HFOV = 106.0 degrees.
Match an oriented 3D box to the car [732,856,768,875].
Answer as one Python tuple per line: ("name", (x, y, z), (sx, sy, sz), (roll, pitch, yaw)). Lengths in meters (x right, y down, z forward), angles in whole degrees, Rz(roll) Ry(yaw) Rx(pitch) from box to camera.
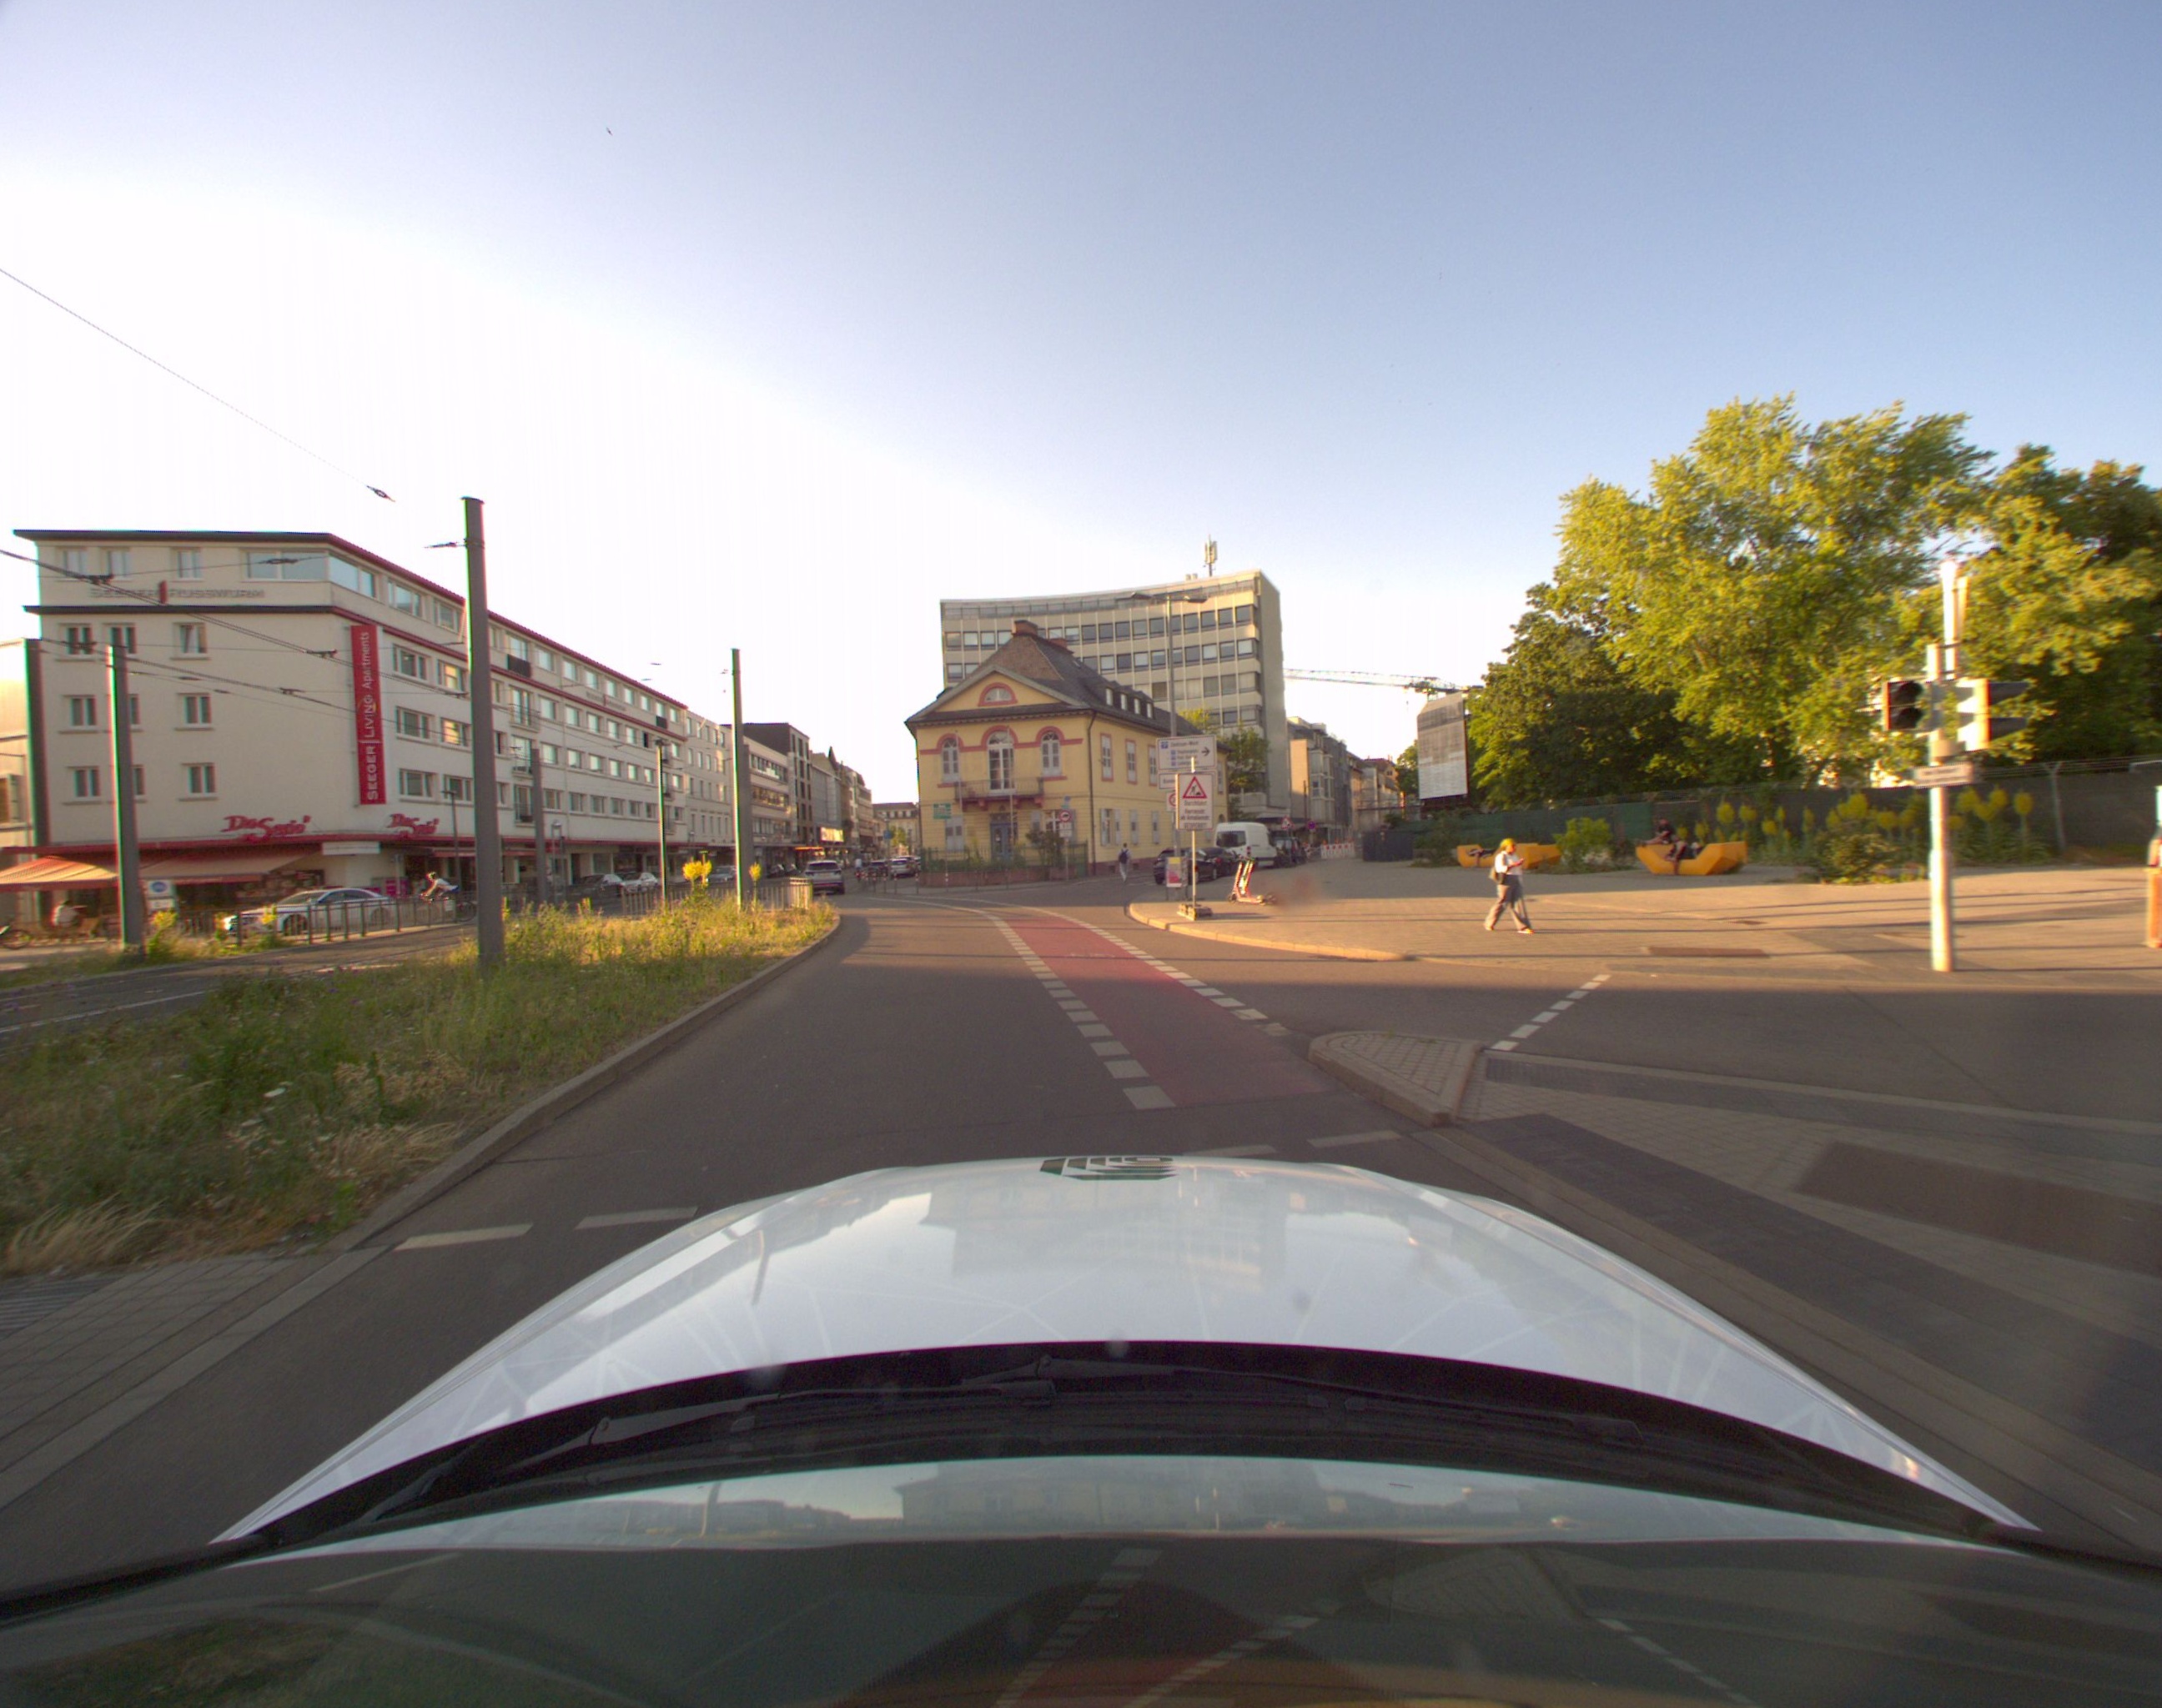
("car", (-32.327, 1.113, 79.633), (1.990, 1.665, 3.994), (-3, 0, -4))

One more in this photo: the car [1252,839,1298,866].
("car", (11.624, -0.105, 48.680), (1.676, 1.459, 4.124), (-2, 1, 27))

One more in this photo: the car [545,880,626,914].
("car", (-28.743, 2.448, 47.452), (1.990, 1.665, 4.833), (-2, 0, -4))

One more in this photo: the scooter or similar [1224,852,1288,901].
("scooter or similar", (4.698, 0.619, 21.934), (1.507, 1.260, 0.616), (-3, 0, 34))

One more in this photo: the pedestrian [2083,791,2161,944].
("pedestrian", (12.587, 0.134, 9.492), (0.931, 1.735, 0.827), (-2, 0, 37))

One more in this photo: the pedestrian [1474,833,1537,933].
("pedestrian", (7.130, 0.481, 13.701), (0.686, 1.613, 0.596), (-3, 0, -3))

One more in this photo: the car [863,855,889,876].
("car", (-18.817, 1.000, 74.845), (1.807, 1.808, 3.988), (-3, 0, -8))

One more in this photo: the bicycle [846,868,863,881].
("bicycle", (-16.016, 1.438, 57.691), (0.829, 0.870, 2.541), (-3, 0, -9))

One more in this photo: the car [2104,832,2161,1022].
("car", (9.819, 0.459, 4.834), (4.254, 1.405, 1.926), (-3, -1, 20))

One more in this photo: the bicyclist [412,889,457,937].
("bicyclist", (-21.064, 1.909, 26.542), (0.824, 1.441, 0.936), (-3, 0, 39))

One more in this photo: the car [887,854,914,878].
("car", (-13.729, 0.899, 62.002), (1.732, 1.708, 3.428), (-3, 0, -9))

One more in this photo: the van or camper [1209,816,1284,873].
("van or camper", (9.021, -0.548, 43.876), (2.057, 2.774, 6.489), (-2, 0, 28))

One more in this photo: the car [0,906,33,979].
("car", (-24.899, 2.037, 16.520), (1.993, 1.574, 4.290), (-3, 0, -8))

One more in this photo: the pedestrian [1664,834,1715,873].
("pedestrian", (18.644, -0.021, 24.952), (0.986, 1.157, 0.733), (-2, 0, -6))

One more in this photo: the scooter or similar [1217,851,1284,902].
("scooter or similar", (4.449, 0.591, 21.412), (1.631, 1.292, 0.464), (-2, 0, 34))

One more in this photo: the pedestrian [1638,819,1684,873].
("pedestrian", (18.336, -0.251, 25.759), (0.818, 1.665, 0.763), (-3, 0, -6))

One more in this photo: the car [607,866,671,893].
("car", (-28.752, 1.620, 53.122), (1.990, 1.464, 4.395), (-3, 0, -4))

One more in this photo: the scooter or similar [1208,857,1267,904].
("scooter or similar", (4.048, 0.696, 21.069), (1.386, 1.166, 0.464), (-2, 0, 34))

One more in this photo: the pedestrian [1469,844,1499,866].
("pedestrian", (16.874, 0.047, 34.105), (0.563, 0.893, 0.973), (-2, 0, -27))

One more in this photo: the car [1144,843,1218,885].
("car", (4.277, 0.366, 34.171), (1.762, 1.543, 4.316), (-2, 1, 25))

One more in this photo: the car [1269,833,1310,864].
("car", (13.548, -0.384, 52.768), (1.696, 1.848, 4.047), (-2, 1, 27))

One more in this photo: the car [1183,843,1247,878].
("car", (6.398, 0.277, 38.495), (1.713, 1.429, 4.501), (-2, 1, 26))

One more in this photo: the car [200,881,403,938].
("car", (-25.595, 1.775, 27.035), (2.025, 1.441, 4.666), (-3, 0, 4))

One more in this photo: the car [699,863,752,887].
("car", (-26.353, 1.495, 60.490), (2.193, 1.559, 4.275), (-2, 0, -3))

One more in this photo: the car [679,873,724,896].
("car", (-31.144, 2.487, 66.973), (1.990, 1.665, 3.994), (-2, 0, -4))

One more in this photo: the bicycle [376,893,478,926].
("bicycle", (-21.179, 1.780, 26.423), (0.835, 0.846, 2.438), (-3, 0, 38))

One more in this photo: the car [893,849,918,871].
("car", (-14.392, 0.462, 67.088), (1.732, 1.708, 3.793), (-3, 0, -9))

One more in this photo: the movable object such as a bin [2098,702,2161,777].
("movable object such as a bin", (31.708, -3.366, 22.573), (1.977, 2.013, 5.049), (-3, 0, 19))

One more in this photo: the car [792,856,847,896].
("car", (-12.439, 1.001, 38.555), (1.952, 1.661, 4.499), (-3, 0, -24))

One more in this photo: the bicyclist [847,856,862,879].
("bicyclist", (-15.979, 0.926, 57.484), (0.829, 1.568, 0.785), (-3, 0, -10))
